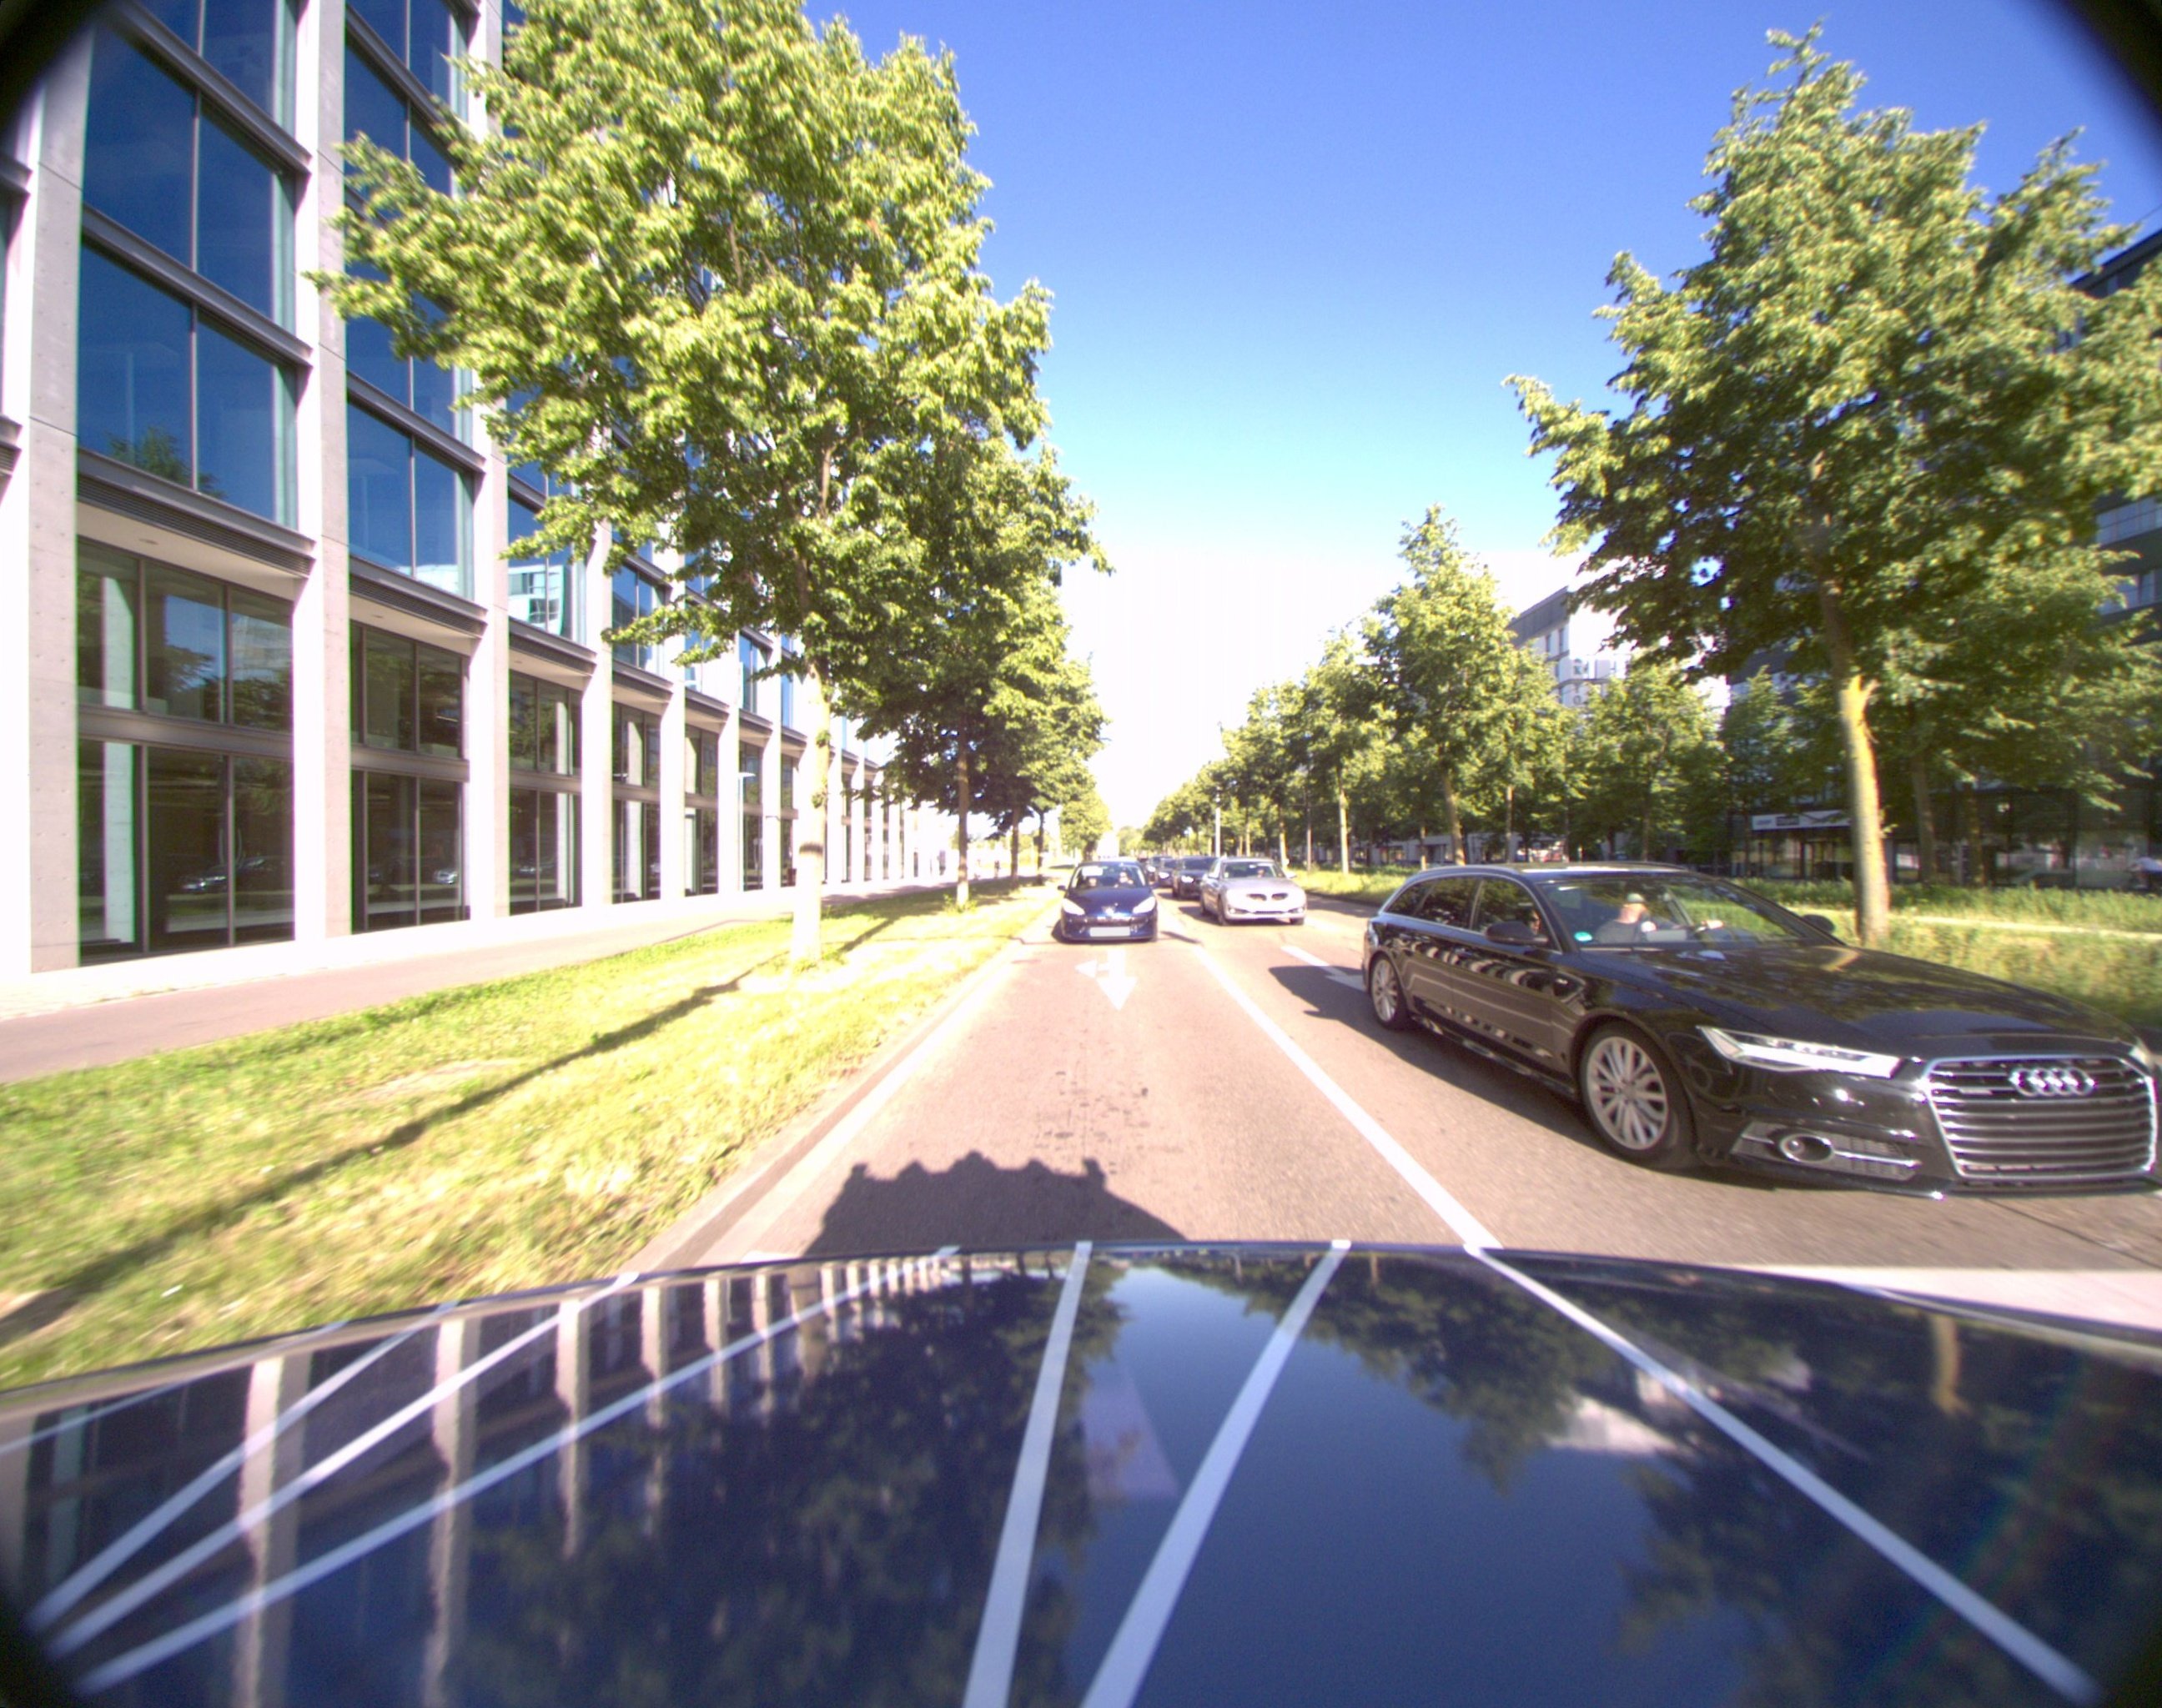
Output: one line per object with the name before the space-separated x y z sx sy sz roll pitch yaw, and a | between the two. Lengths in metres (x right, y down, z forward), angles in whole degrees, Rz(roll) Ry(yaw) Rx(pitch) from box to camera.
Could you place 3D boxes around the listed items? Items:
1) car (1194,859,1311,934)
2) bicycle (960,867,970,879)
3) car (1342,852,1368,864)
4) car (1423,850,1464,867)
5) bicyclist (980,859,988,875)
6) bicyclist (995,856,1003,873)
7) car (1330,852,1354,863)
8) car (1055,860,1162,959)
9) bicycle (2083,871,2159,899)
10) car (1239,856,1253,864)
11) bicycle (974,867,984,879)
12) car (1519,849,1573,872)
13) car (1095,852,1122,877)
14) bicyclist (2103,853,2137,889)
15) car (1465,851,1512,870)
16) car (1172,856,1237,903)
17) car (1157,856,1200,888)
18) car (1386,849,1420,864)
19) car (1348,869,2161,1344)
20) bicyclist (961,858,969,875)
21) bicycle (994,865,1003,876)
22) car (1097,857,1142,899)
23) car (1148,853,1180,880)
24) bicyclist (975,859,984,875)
car | 3.859 0.890 17.894 1.812 1.480 4.743 0 0 2
bicycle | -8.531 1.379 55.769 0.415 0.813 1.320 -1 1 3
car | 38.587 0.540 107.257 2.011 1.689 4.792 0 0 1
car | 37.833 0.425 79.423 2.012 1.689 4.791 0 0 -1
bicyclist | -7.808 1.013 60.926 0.534 1.282 0.457 -1 1 3
bicyclist | -6.559 0.833 60.615 0.534 1.282 0.521 -1 1 3
car | 38.812 0.480 113.060 2.011 1.689 4.792 0 0 1
car | 0.524 0.921 14.141 1.686 1.513 3.786 -1 0 3
bicycle | 41.384 1.225 30.258 0.528 1.028 1.848 -1 1 3
car | 32.555 1.240 150.091 1.858 1.528 4.736 0 0 3
bicycle | -7.442 1.370 55.611 0.464 0.813 1.345 -1 1 3
car | 36.163 0.464 59.200 1.858 1.739 4.000 0 0 3
car | 1.846 0.681 50.401 1.705 1.591 3.786 0 0 3
bicyclist | 41.352 0.668 30.238 0.493 1.398 0.626 -1 1 3
car | 37.081 0.568 69.317 1.858 1.674 4.793 0 0 3
car | 4.239 0.826 26.619 1.812 1.514 4.029 0 0 3
car | 4.666 0.818 36.879 1.812 1.445 4.255 0 0 3
car | 37.976 0.301 89.764 2.012 1.689 4.791 0 0 -1
car | 3.431 0.889 4.799 1.813 1.448 4.507 -1 0 -1
bicyclist | -8.527 0.926 55.798 0.448 1.282 0.418 -1 1 3
bicycle | -6.586 1.305 60.659 0.464 0.813 1.345 -1 1 3
car | 1.496 0.881 29.542 1.612 1.463 4.396 0 0 3
car | 5.113 0.741 47.372 1.812 1.581 4.166 0 0 4
bicyclist | -7.445 0.946 55.631 0.534 1.210 0.507 -1 1 3
